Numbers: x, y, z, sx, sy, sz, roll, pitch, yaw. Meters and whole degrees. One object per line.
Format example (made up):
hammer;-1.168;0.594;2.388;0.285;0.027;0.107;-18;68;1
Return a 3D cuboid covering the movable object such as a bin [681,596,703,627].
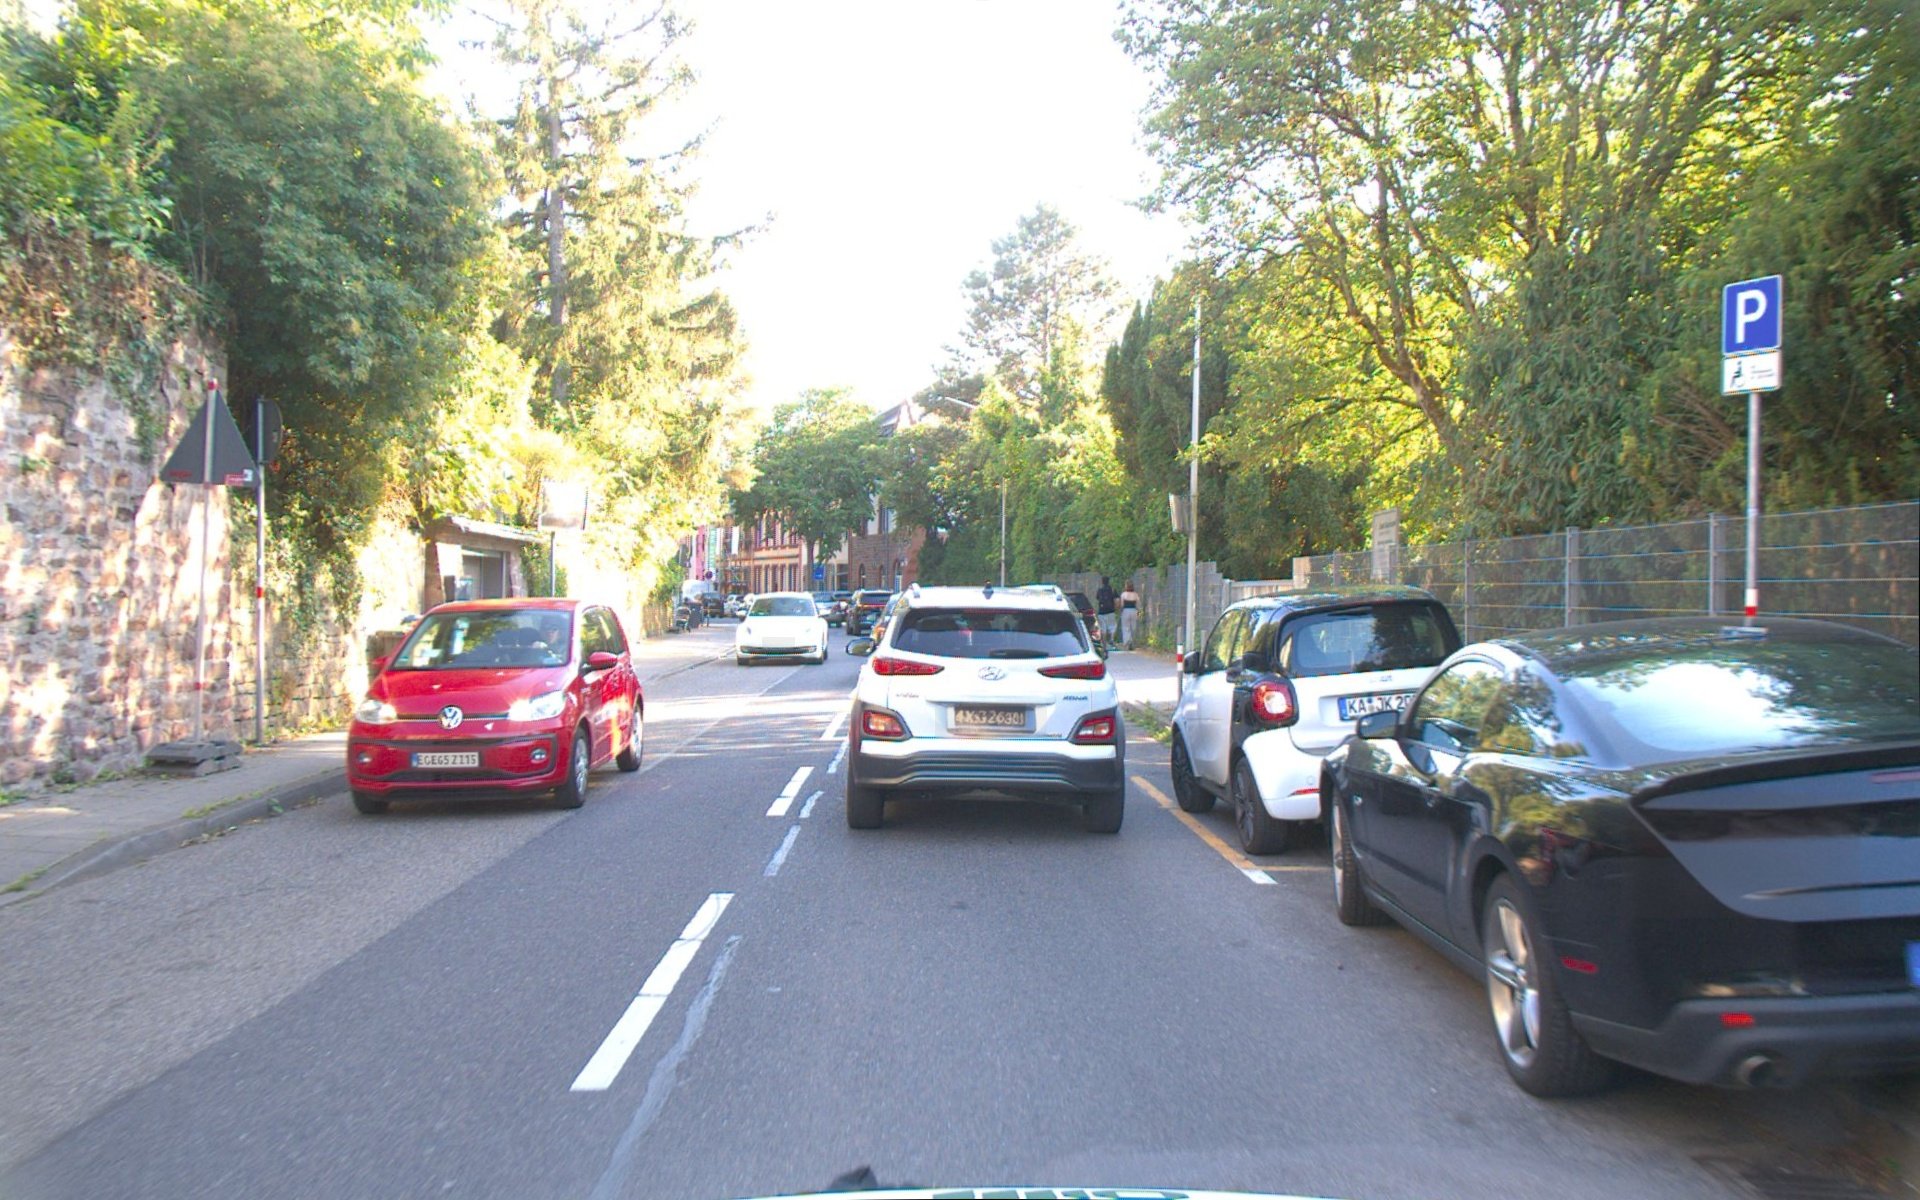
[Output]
movable object such as a bin;-10.880;0.473;67.168;0.776;1.210;0.772;2;-1;-3

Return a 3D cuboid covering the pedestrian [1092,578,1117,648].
pedestrian;3.429;0.305;39.252;0.493;1.634;0.491;-2;0;-1

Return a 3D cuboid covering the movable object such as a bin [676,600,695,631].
movable object such as a bin;-9.492;0.531;57.213;0.485;1.029;1.112;2;0;-2

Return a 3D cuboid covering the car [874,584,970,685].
car;-0.688;0.514;27.566;1.482;1.560;3.545;0;1;-3

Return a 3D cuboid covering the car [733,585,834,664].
car;-3.703;0.491;35.240;1.706;1.500;3.999;-3;0;-1

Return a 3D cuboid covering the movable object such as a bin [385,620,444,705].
movable object such as a bin;-6.572;0.746;19.939;0.562;1.002;0.438;2;-1;-4

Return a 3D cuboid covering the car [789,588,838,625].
car;-6.575;0.268;73.909;1.564;1.610;3.346;0;0;-16

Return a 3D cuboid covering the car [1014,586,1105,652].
car;2.329;0.423;39.697;1.653;1.456;3.997;-2;0;-4

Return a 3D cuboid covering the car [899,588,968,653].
car;-0.618;0.475;40.859;1.538;1.503;3.548;1;0;1

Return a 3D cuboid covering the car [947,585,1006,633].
car;0.524;0.286;56.126;1.563;1.515;3.598;-2;1;-6

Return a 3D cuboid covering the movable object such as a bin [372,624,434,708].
movable object such as a bin;-6.552;0.773;19.481;0.572;0.953;0.438;2;-1;-4

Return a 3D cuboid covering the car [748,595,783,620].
car;-10.419;0.399;88.440;1.501;1.282;3.348;0;0;-14

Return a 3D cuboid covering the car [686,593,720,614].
car;-16.272;0.196;104.659;1.504;1.282;3.341;0;0;-20

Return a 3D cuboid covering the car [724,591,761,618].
car;-14.463;0.301;109.889;1.729;1.645;3.979;1;1;-18

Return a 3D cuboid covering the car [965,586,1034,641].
car;1.157;0.390;50.353;1.563;1.545;3.927;-2;0;-6

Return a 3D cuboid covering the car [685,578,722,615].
car;-19.185;-0.267;123.456;1.900;2.628;4.368;-1;0;-20

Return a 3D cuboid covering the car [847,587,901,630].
car;-3.080;0.287;58.588;1.563;1.486;3.092;0;0;-10

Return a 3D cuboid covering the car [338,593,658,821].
car;-3.425;0.709;12.891;1.519;1.492;3.568;-1;0;-1

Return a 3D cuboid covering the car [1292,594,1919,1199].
car;2.602;0.772;6.392;1.675;1.524;4.814;2;0;1

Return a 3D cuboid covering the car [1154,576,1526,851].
car;2.406;0.640;11.136;1.593;1.536;2.900;-2;1;-5

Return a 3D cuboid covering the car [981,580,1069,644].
car;1.731;0.317;45.111;1.564;1.592;3.991;-2;0;-10

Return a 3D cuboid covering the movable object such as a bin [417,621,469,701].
movable object such as a bin;-6.563;0.774;21.020;0.480;0.981;0.583;2;0;-4

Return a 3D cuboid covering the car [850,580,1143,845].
car;0.195;0.670;11.930;1.736;1.569;3.999;1;0;-1

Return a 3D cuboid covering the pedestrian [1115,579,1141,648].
pedestrian;3.986;0.315;39.263;0.493;1.596;0.503;-2;0;-1

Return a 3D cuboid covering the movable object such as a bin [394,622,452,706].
movable object such as a bin;-6.628;0.783;20.425;0.562;1.002;0.438;2;-1;-4
